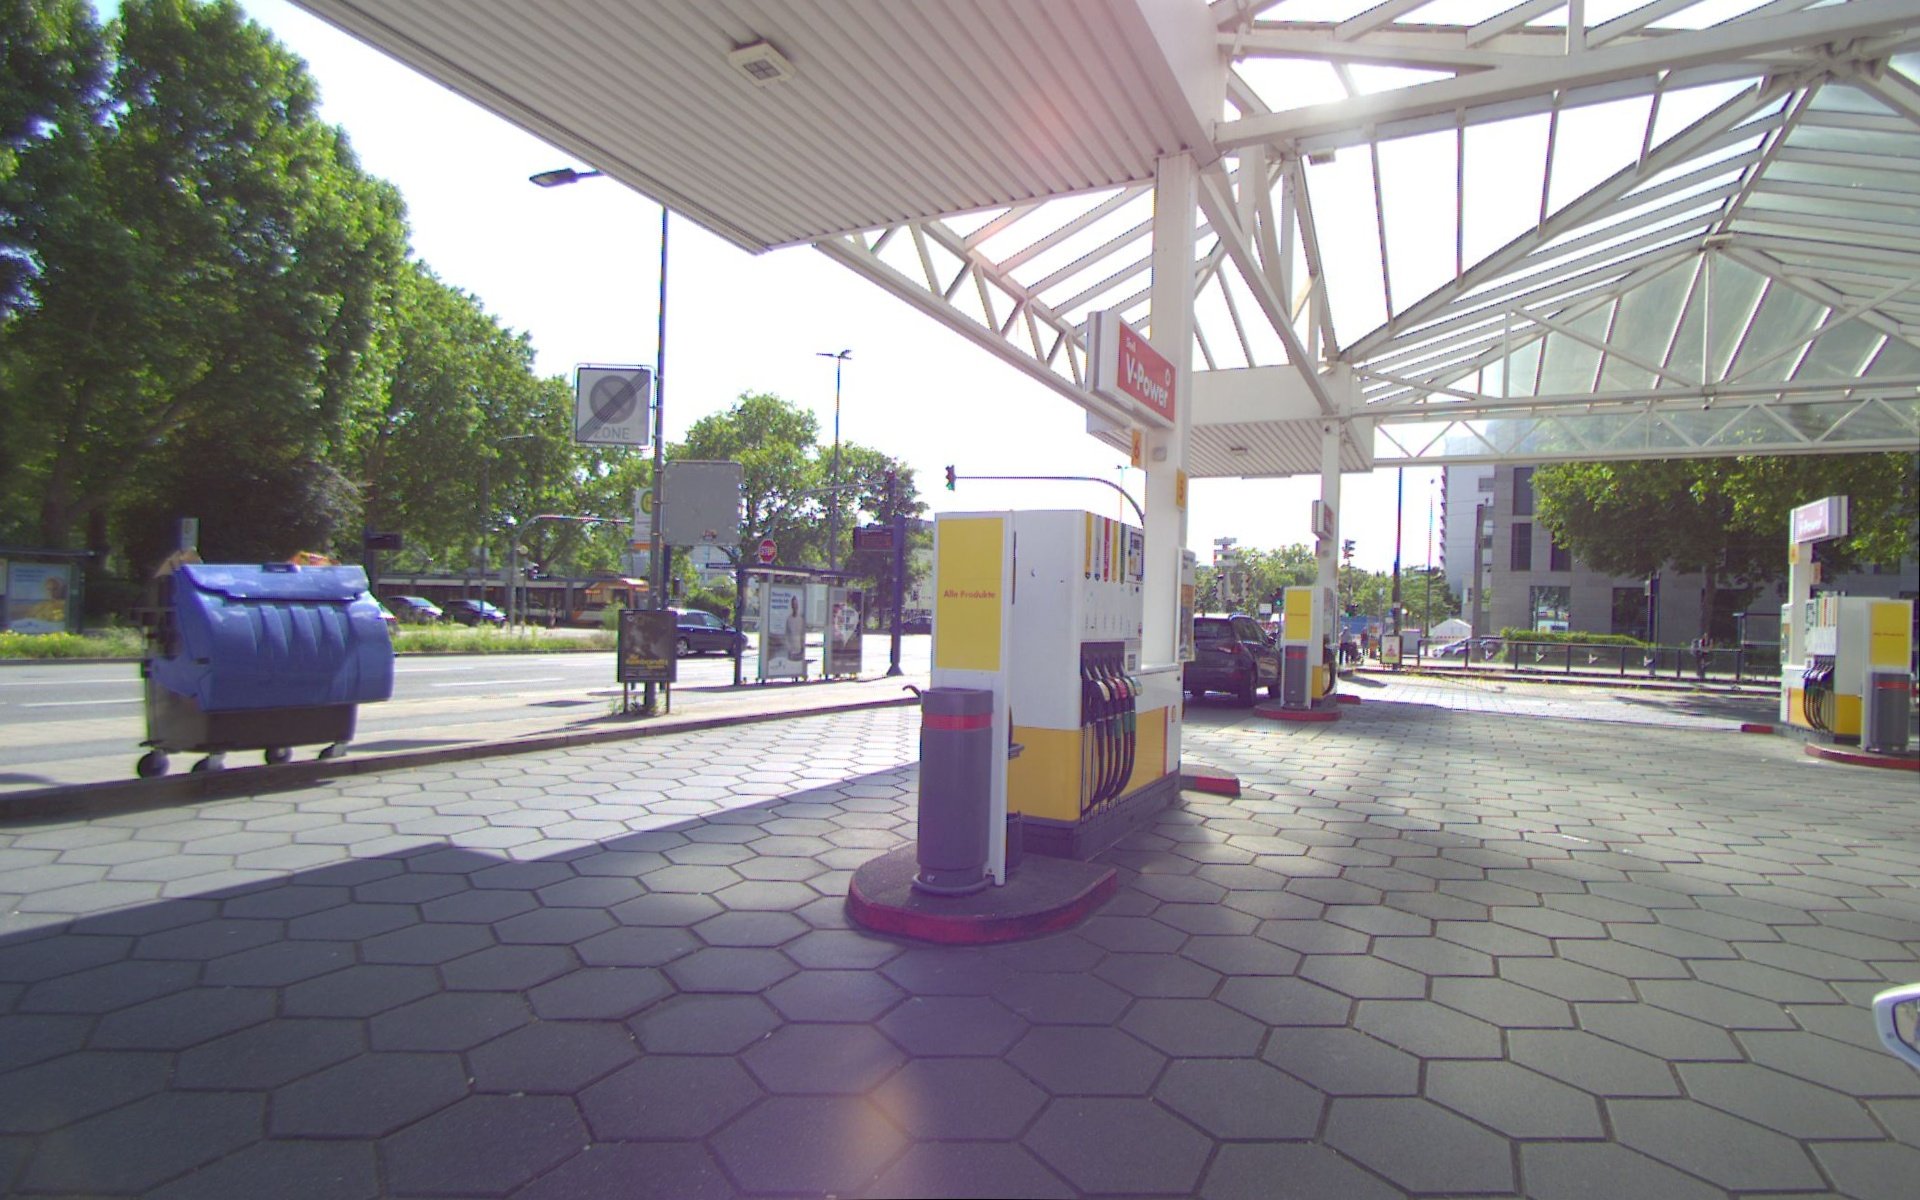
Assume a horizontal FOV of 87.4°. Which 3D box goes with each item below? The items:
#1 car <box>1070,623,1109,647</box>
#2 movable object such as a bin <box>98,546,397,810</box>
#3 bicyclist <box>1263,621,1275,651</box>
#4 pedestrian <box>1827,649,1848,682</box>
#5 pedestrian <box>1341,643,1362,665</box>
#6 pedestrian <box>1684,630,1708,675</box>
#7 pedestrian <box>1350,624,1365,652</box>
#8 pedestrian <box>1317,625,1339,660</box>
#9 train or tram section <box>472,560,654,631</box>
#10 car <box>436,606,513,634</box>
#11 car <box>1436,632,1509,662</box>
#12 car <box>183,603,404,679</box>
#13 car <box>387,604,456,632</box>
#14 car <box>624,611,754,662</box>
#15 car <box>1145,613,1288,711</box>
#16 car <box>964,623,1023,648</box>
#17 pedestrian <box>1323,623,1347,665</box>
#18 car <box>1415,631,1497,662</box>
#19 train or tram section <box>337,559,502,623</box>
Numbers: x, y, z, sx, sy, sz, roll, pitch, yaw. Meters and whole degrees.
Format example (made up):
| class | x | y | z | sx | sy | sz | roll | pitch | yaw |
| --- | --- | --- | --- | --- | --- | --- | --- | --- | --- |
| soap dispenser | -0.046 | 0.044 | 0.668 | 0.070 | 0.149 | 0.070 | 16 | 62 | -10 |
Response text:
| class | x | y | z | sx | sy | sz | roll | pitch | yaw |
| --- | --- | --- | --- | --- | --- | --- | --- | --- | --- |
| car | 11.533 | 3.097 | 89.155 | 1.964 | 2.040 | 4.441 | -1 | -2 | 28 |
| movable object such as a bin | -5.210 | 0.538 | 7.411 | 1.318 | 1.710 | 1.335 | -1 | -2 | 28 |
| bicyclist | 16.982 | 1.962 | 55.210 | 0.627 | 1.601 | 1.173 | 2 | -1 | 17 |
| pedestrian | 31.175 | 2.325 | 35.692 | 0.492 | 1.153 | 0.523 | 1 | -1 | 33 |
| pedestrian | 16.565 | 2.277 | 42.512 | 0.680 | 0.892 | 0.502 | 2 | -1 | -8 |
| pedestrian | 27.440 | 1.948 | 37.461 | 0.575 | 1.613 | 0.669 | 1 | 1 | 26 |
| pedestrian | 22.247 | 2.134 | 56.200 | 0.642 | 1.561 | 0.501 | 1 | -1 | 36 |
| pedestrian | 18.668 | 2.163 | 50.945 | 0.922 | 1.705 | 0.500 | 1 | -1 | 44 |
| train or tram section | -27.571 | -0.393 | 69.210 | 14.666 | 4.549 | 2.326 | 1 | -1 | 27 |
| car | -28.398 | 1.190 | 58.790 | 3.922 | 1.532 | 1.869 | -1 | -2 | 21 |
| car | 29.738 | 2.732 | 58.410 | 3.622 | 1.572 | 1.591 | 1 | -1 | 22 |
| car | -17.348 | 1.047 | 26.378 | 1.964 | 1.792 | 4.383 | 1 | -1 | 30 |
| car | -33.355 | 1.148 | 62.224 | 3.927 | 1.711 | 1.866 | -1 | -2 | 28 |
| car | -8.435 | 1.142 | 31.586 | 1.654 | 1.385 | 3.998 | 3 | 0 | 26 |
| car | 4.709 | 1.061 | 18.054 | 1.717 | 1.552 | 3.996 | 0 | -2 | 26 |
| car | 2.554 | 2.703 | 76.204 | 4.174 | 1.829 | 1.978 | 2 | -3 | -38 |
| pedestrian | 15.855 | 1.852 | 42.466 | 0.765 | 1.705 | 0.502 | 2 | -1 | -6 |
| car | 27.540 | 2.563 | 55.845 | 3.922 | 1.572 | 1.703 | 1 | -1 | 22 |
| train or tram section | -41.136 | -0.757 | 76.046 | 15.629 | 4.549 | 2.326 | 1 | -1 | 27 |
